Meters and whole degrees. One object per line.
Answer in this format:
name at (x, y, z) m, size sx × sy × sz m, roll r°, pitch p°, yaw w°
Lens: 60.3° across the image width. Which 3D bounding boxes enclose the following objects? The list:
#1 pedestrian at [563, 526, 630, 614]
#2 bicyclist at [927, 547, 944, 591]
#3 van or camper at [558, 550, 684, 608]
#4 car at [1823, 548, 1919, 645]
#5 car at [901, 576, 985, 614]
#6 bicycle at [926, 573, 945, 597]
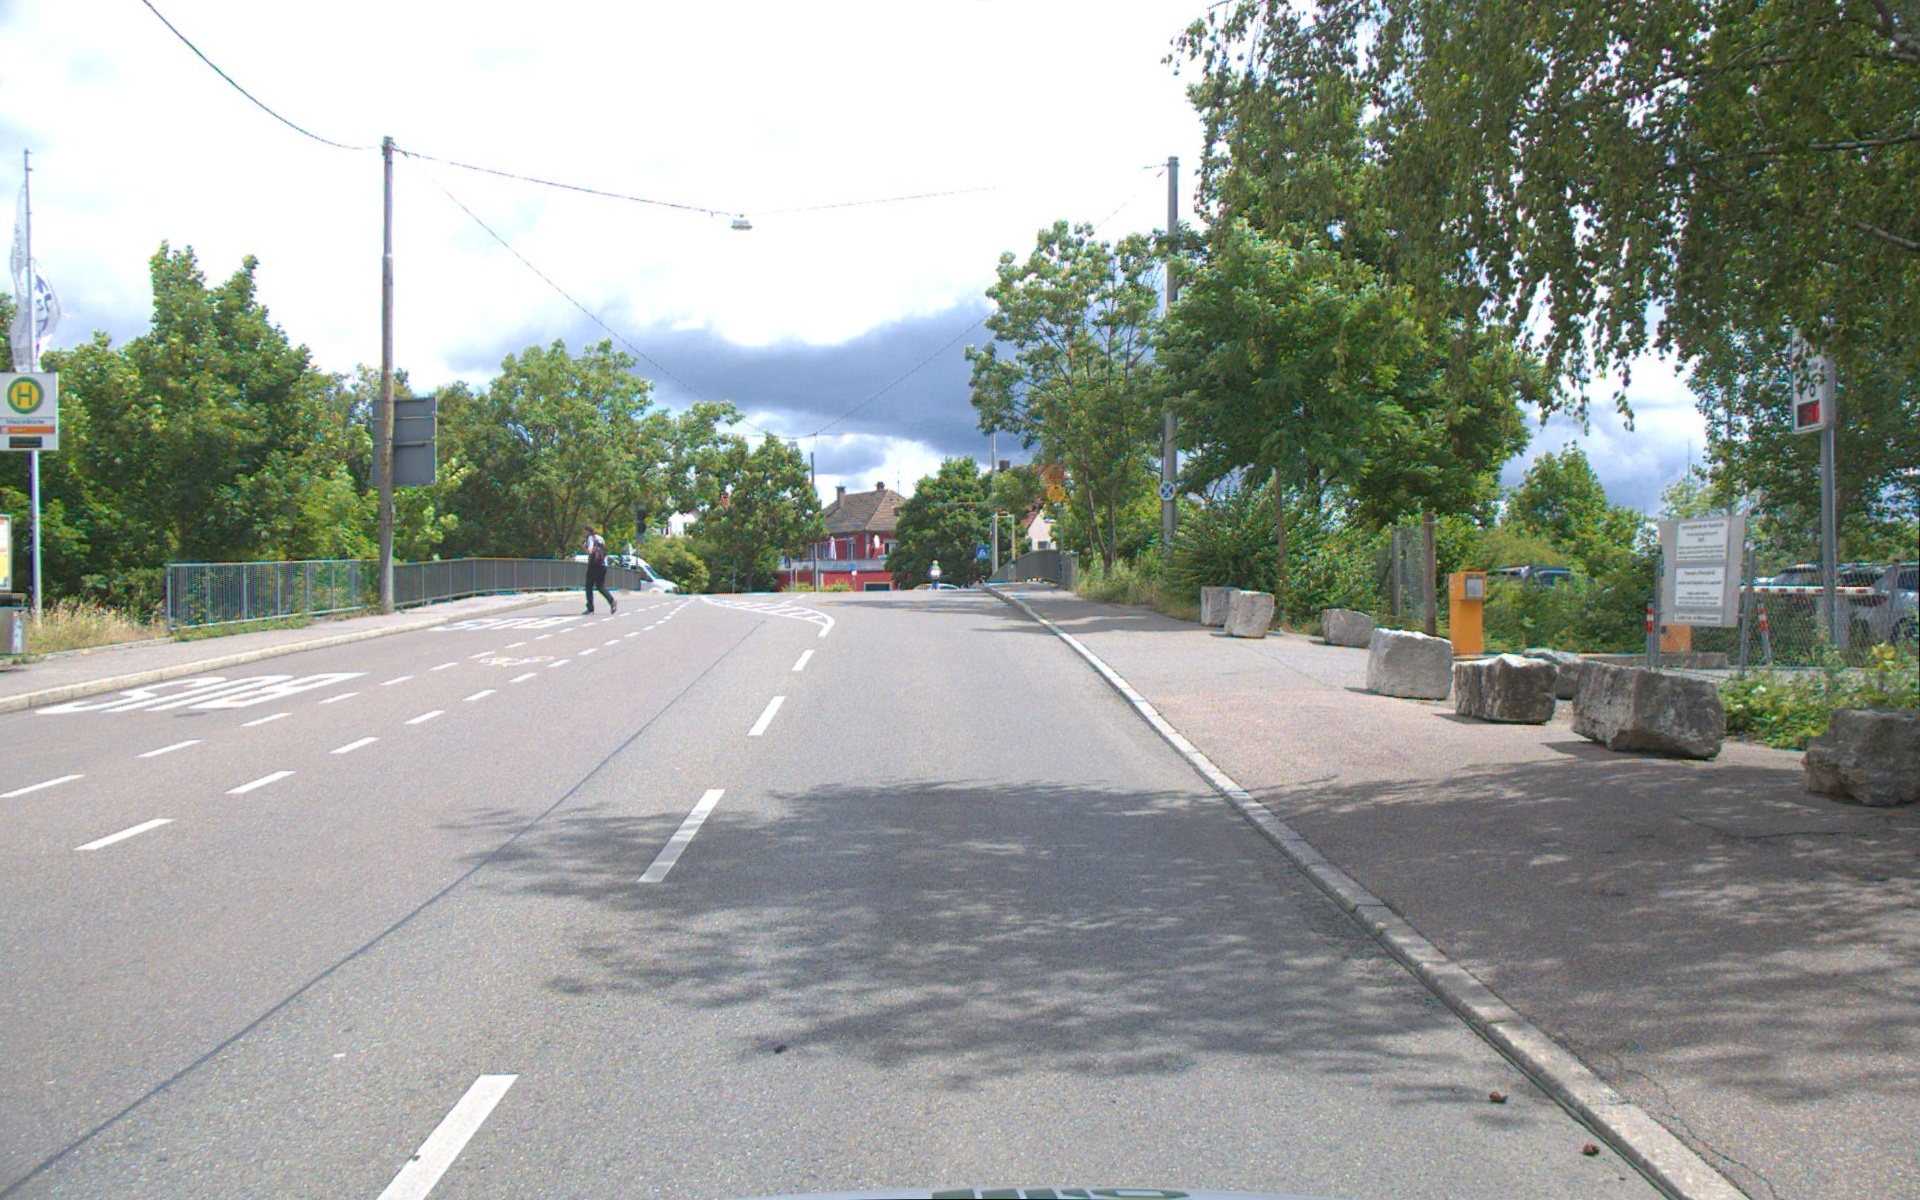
pedestrian at (-7.845, -0.645, 35.736) m, size 1.012 × 1.869 × 0.999 m, roll 1°, pitch 1°, yaw 22°
bicyclist at (-1.096, -1.368, 73.891) m, size 0.670 × 1.858 × 1.080 m, roll 0°, pitch -4°, yaw 3°
van or camper at (-16.927, -1.042, 82.676) m, size 5.788 × 2.612 × 2.193 m, roll -2°, pitch -2°, yaw 0°
car at (16.803, 0.018, 27.541) m, size 3.903 × 1.512 × 1.777 m, roll 3°, pitch -1°, yaw 4°
car at (-0.934, -0.265, 92.941) m, size 4.389 × 1.863 × 1.972 m, roll 4°, pitch -1°, yaw -40°
bicycle at (-1.094, -0.670, 73.915) m, size 0.673 × 0.894 × 2.102 m, roll 0°, pitch -4°, yaw 3°
